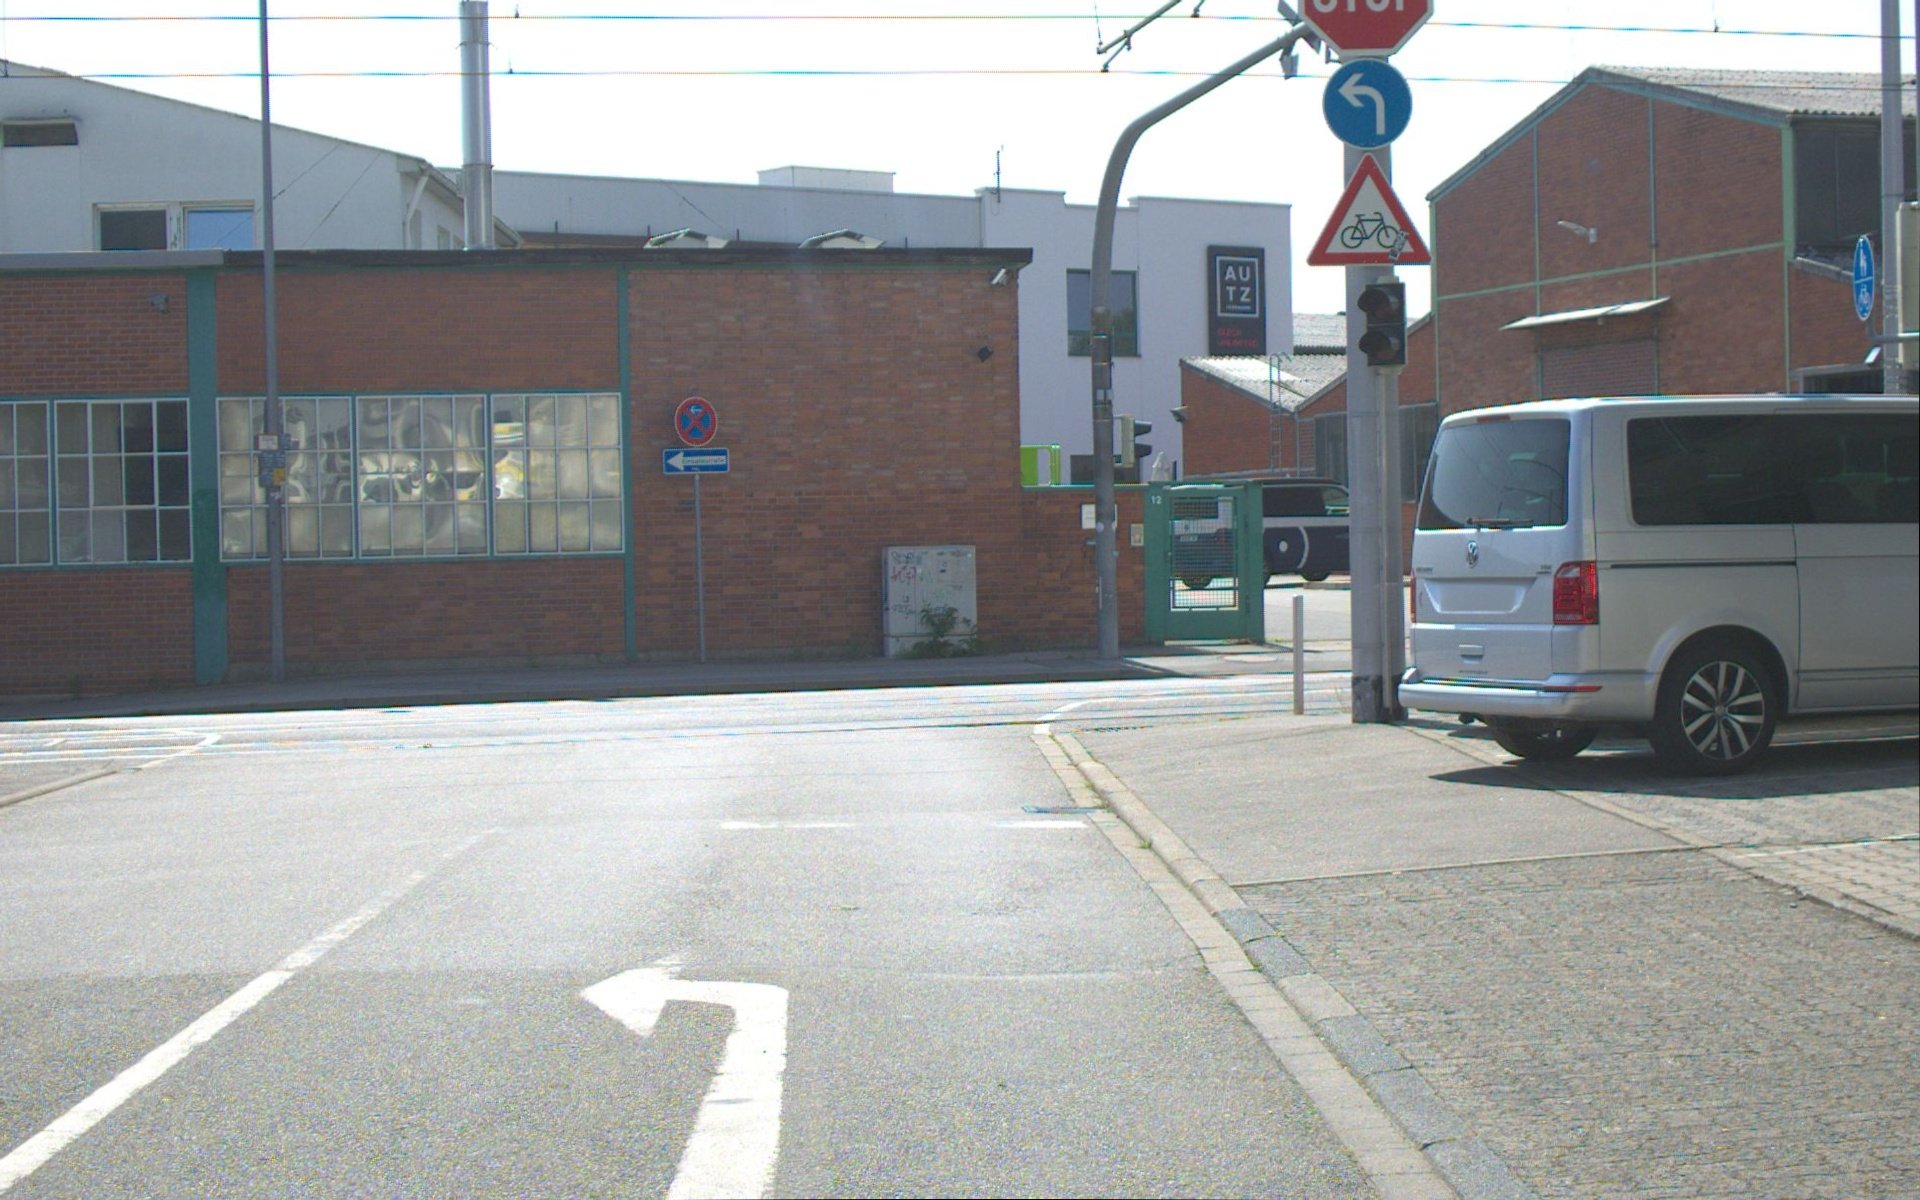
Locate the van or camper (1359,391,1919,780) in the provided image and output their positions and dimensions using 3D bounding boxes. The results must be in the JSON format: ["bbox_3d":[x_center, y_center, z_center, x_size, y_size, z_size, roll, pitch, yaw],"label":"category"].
[{"bbox_3d":[4.665,-0.141,18.628,4.540,1.901,2.001,-2,1,-21],"label":"van or camper"}]

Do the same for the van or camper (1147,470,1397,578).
[{"bbox_3d":[5.832,-1.387,63.996,4.408,1.894,2.000,1,0,-37],"label":"van or camper"}]
